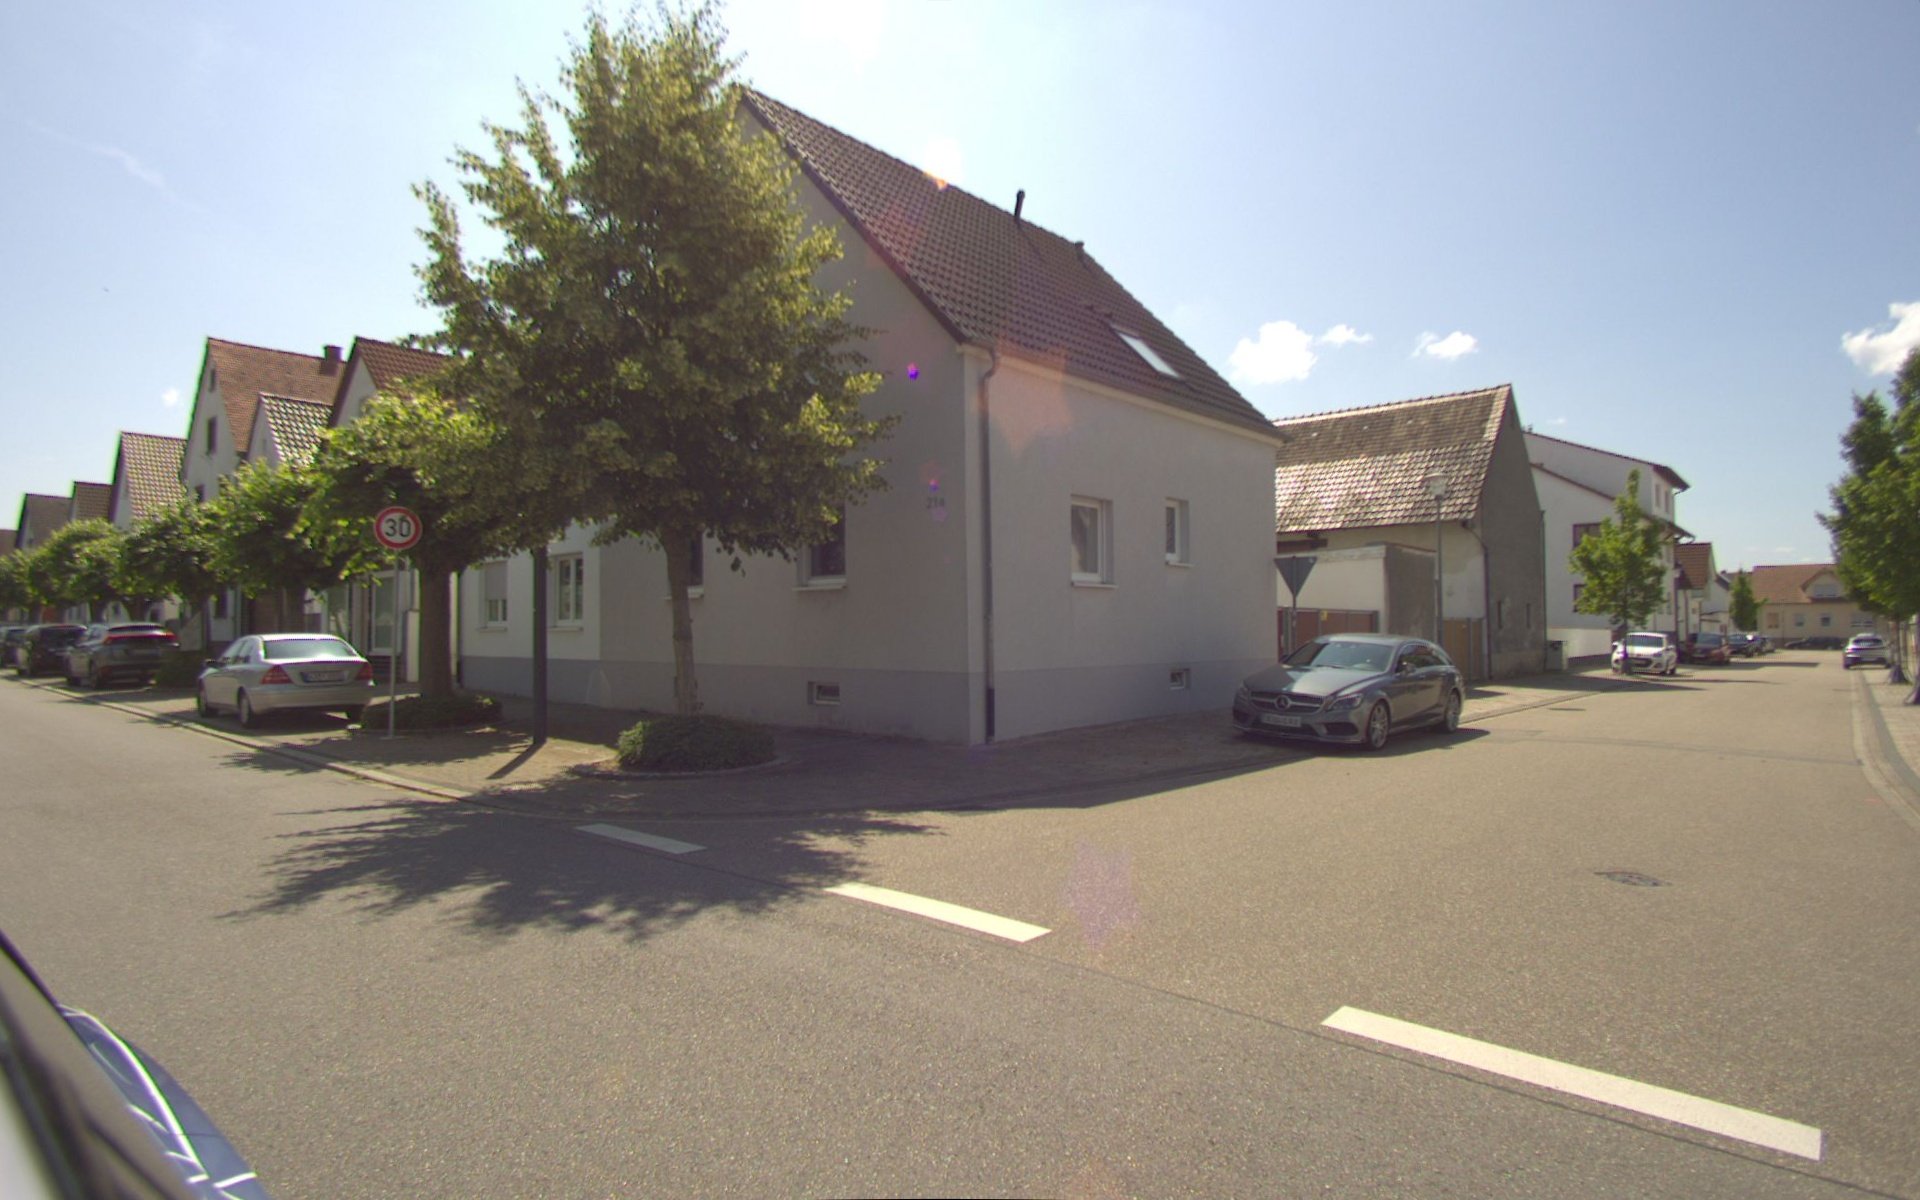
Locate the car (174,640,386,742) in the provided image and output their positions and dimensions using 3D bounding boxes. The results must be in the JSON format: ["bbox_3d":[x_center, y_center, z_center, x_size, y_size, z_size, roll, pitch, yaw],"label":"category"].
[{"bbox_3d":[-11.257,1.385,16.637,4.404,1.406,1.821,-2,-2,41],"label":"car"}]

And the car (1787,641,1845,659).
[{"bbox_3d":[84.463,4.935,99.865,4.261,1.634,1.972,-1,0,42],"label":"car"}]

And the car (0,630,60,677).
[{"bbox_3d":[-35.773,1.985,38.313,3.992,1.646,1.770,-1,-1,36],"label":"car"}]

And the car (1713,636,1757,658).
[{"bbox_3d":[51.067,3.066,66.662,1.969,1.385,4.290,0,-1,42],"label":"car"}]

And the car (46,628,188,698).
[{"bbox_3d":[-22.040,1.591,26.405,4.361,1.665,1.974,-2,-2,38],"label":"car"}]

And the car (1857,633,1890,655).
[{"bbox_3d":[66.053,3.159,73.154,1.756,1.460,3.222,0,-1,43],"label":"car"}]

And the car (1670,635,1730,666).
[{"bbox_3d":[37.368,2.510,51.058,2.000,1.460,4.290,0,-1,42],"label":"car"}]

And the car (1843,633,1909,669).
[{"bbox_3d":[40.826,2.242,45.080,2.001,1.460,4.287,0,-1,44],"label":"car"}]

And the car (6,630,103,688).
[{"bbox_3d":[-28.901,1.821,32.261,4.055,1.647,1.833,-1,0,41],"label":"car"}]

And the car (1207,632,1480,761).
[{"bbox_3d":[5.456,1.205,14.111,2.001,1.460,4.287,0,-1,44],"label":"car"}]

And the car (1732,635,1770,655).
[{"bbox_3d":[59.601,3.350,76.219,1.969,1.385,4.290,0,-1,42],"label":"car"}]

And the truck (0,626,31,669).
[{"bbox_3d":[-42.168,2.065,44.434,4.190,1.778,1.560,-1,0,41],"label":"truck"}]

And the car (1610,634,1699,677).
[{"bbox_3d":[25.796,2.018,37.549,2.001,1.460,4.287,0,-1,44],"label":"car"}]
